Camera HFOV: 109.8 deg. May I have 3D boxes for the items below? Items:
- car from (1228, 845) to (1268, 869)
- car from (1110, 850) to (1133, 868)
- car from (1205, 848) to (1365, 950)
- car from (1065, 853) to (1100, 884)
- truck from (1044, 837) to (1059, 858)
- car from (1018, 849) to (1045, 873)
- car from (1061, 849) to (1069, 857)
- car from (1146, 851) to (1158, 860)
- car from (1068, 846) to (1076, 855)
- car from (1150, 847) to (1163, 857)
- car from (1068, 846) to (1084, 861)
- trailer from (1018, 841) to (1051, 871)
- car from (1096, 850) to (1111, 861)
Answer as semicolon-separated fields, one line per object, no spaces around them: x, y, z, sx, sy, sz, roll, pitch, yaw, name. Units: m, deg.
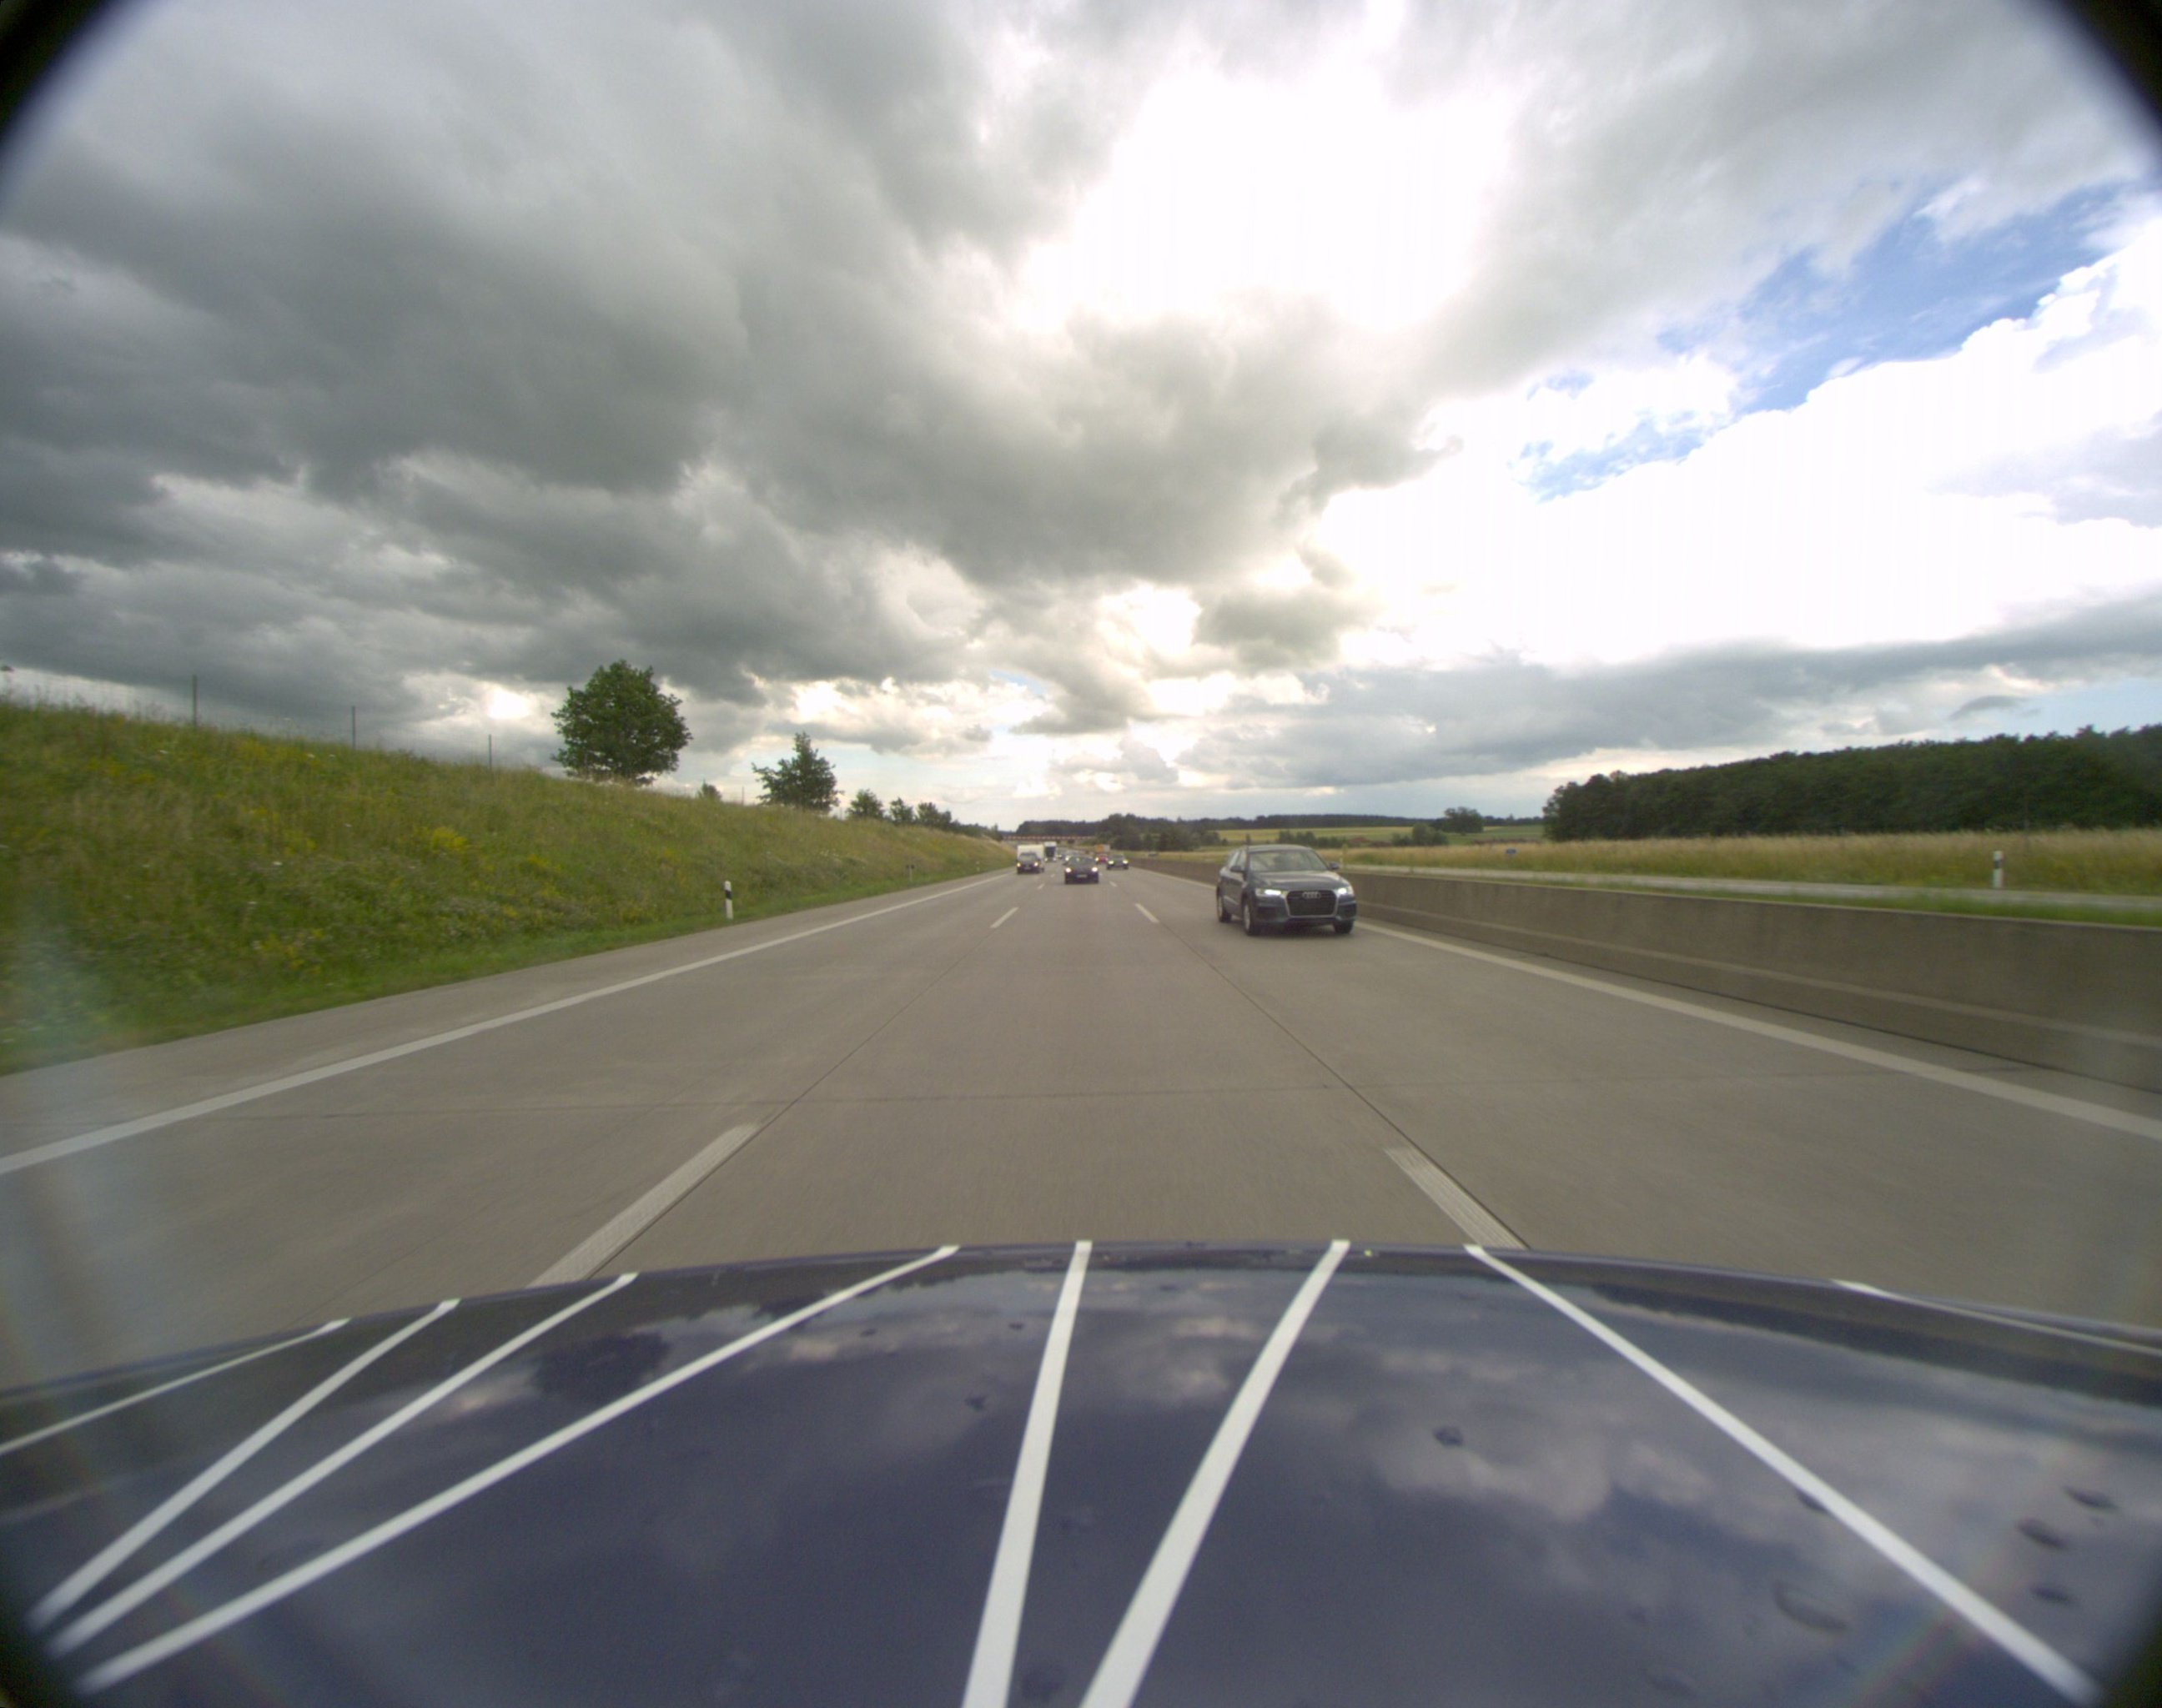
12.273;0.219;56.084;1.998;1.630;4.397;-1;0;1;car
3.632;0.428;68.692;1.939;1.464;4.000;-1;0;3;car
3.708;0.707;14.820;1.797;1.587;5.157;-2;1;1;car
0.049;0.722;39.819;1.691;1.405;3.999;-2;1;-1;car
-6.022;-1.369;156.425;2.855;4.176;10.706;-1;0;-2;truck
-4.028;0.513;62.823;1.944;1.799;5.030;-2;1;-1;car
-4.149;-0.177;199.642;1.999;2.002;3.999;-2;1;-1;car
12.121;0.223;129.797;1.666;1.390;3.999;-1;0;0;car
-1.994;-0.808;169.977;1.810;2.002;3.841;-3;1;-1;car
14.344;-0.383;144.175;1.998;1.674;4.062;-1;0;0;car
-0.699;-0.024;106.227;1.999;2.002;3.999;-1;0;-2;car
-4.147;0.118;68.698;2.615;2.520;6.719;-2;1;-1;trailer
3.120;0.182;103.941;1.821;1.364;3.783;-3;1;3;car
